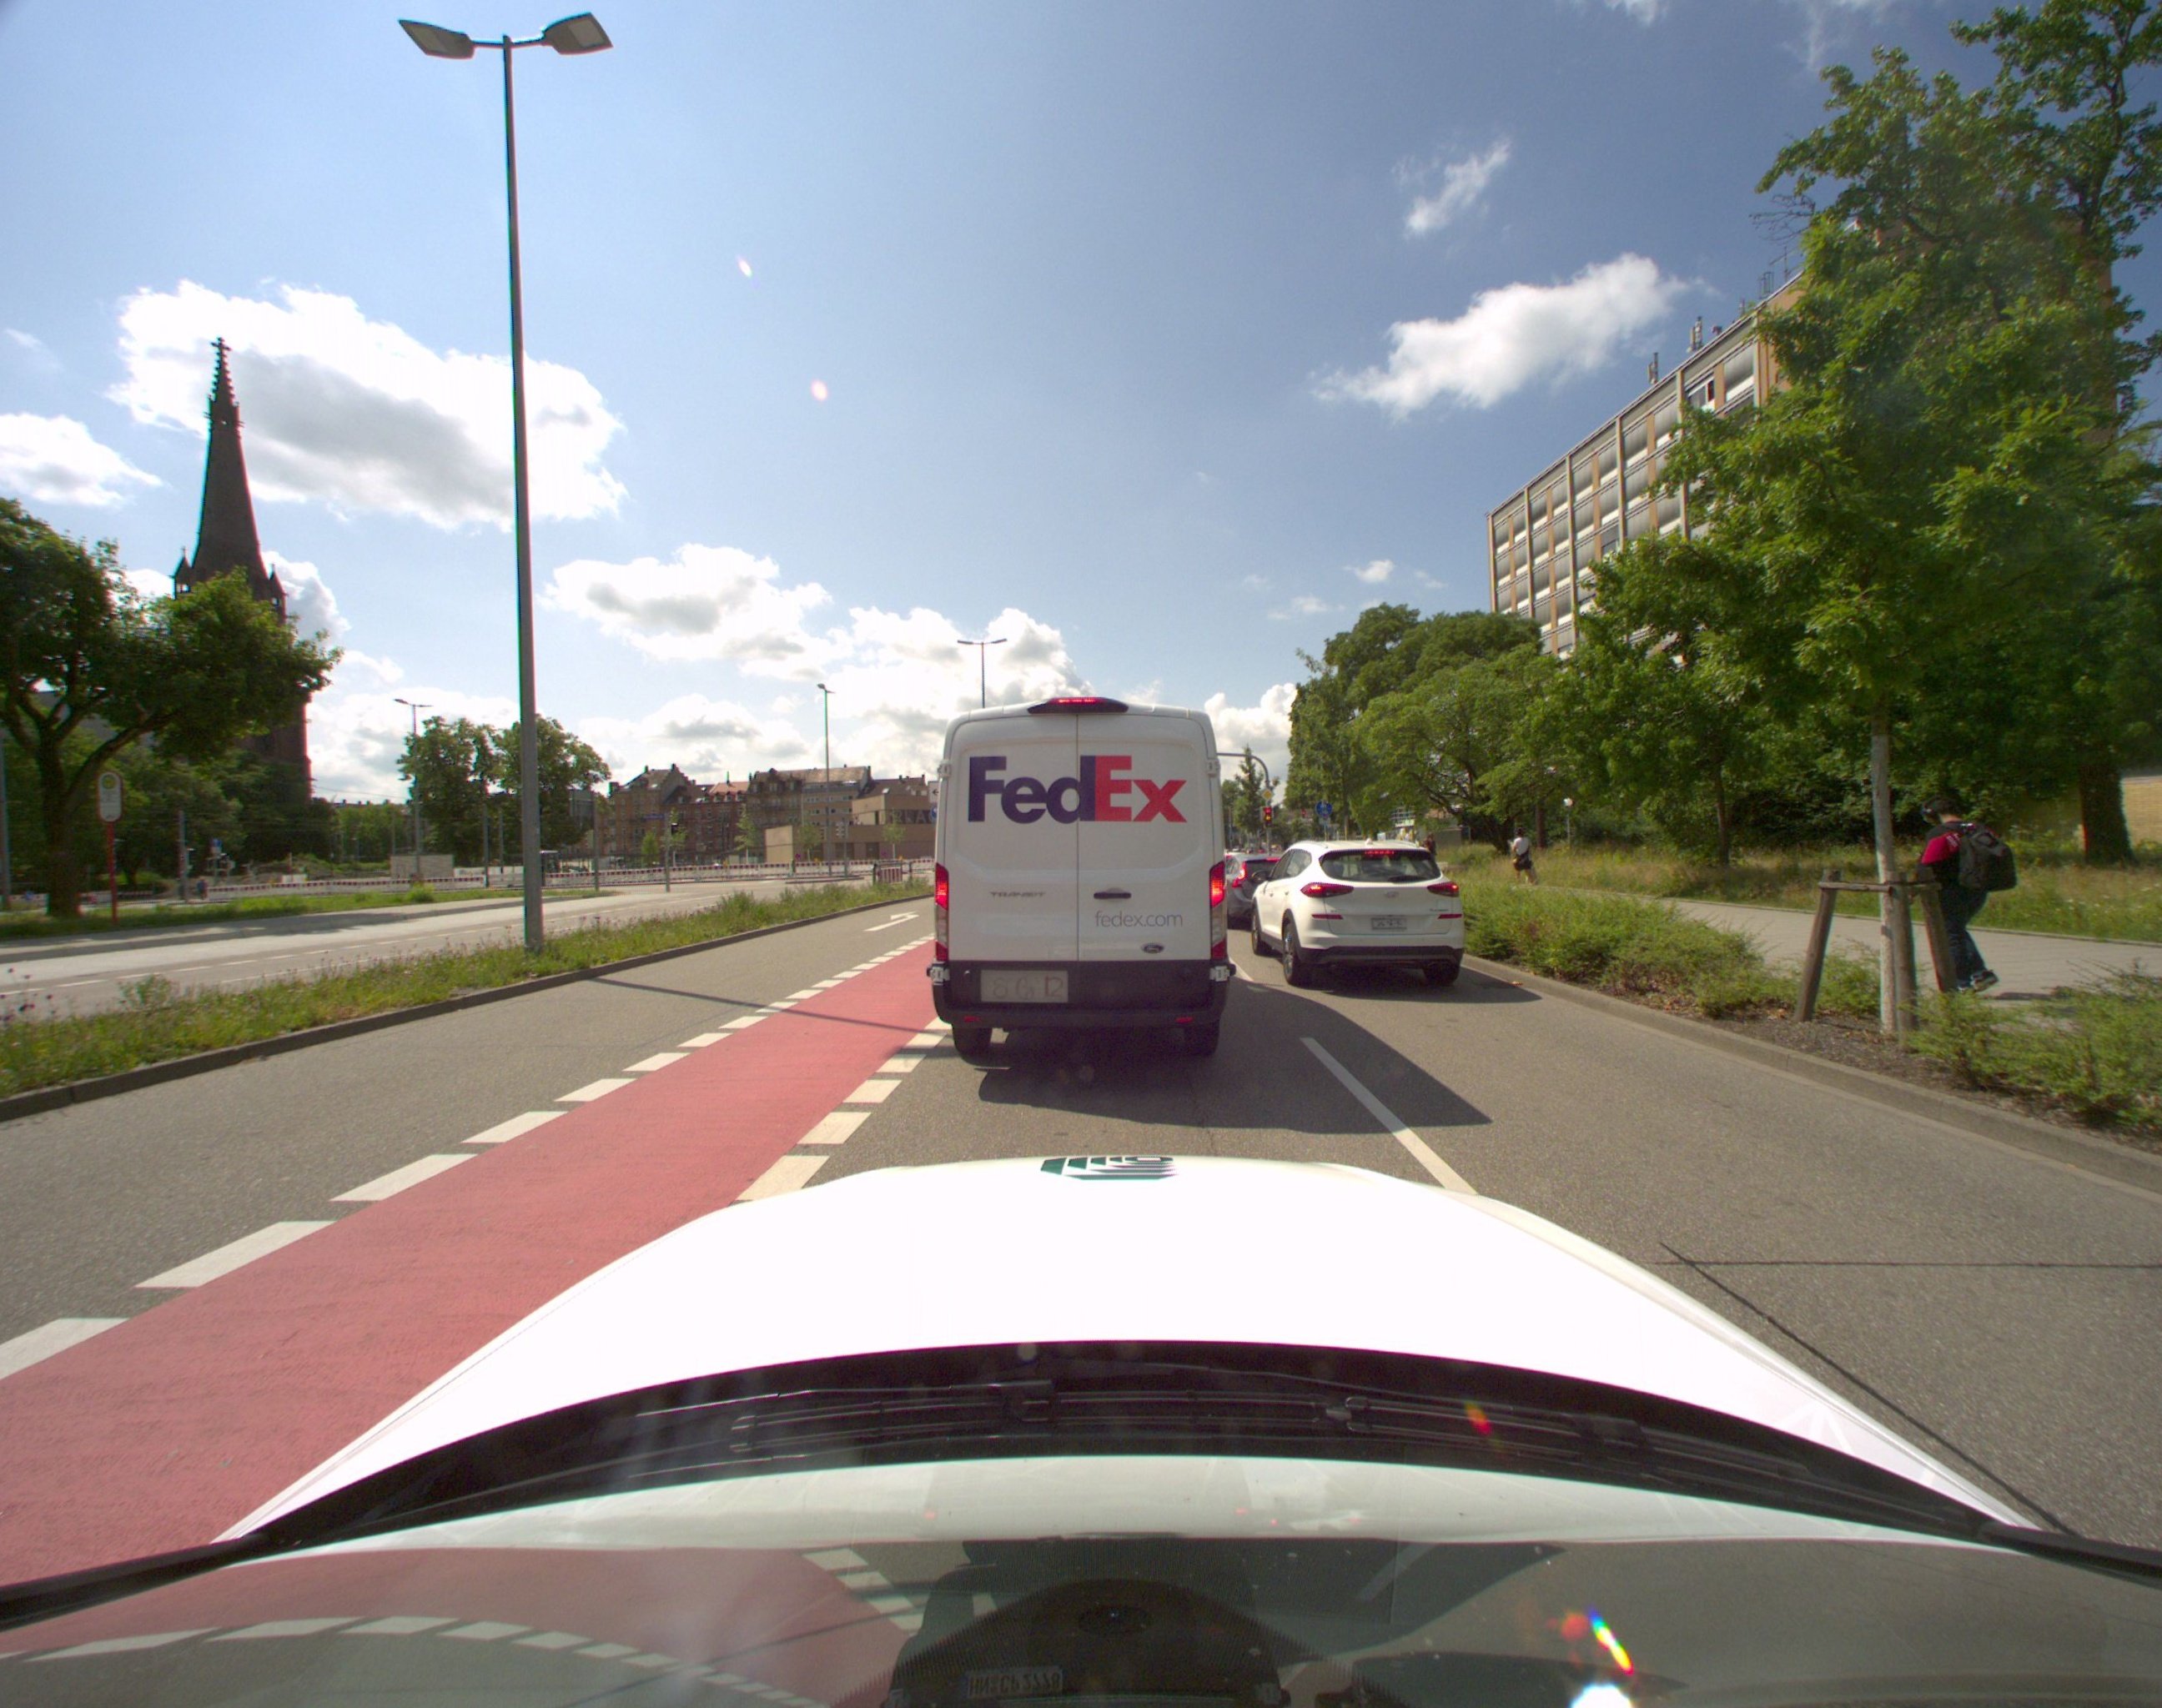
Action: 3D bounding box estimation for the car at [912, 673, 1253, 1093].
[{"bbox_3d":[0.135,0.175,7.328,2.064,2.581,4.432,-2,0,3],"label":"car"}]

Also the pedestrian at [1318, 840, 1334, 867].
[{"bbox_3d":[16.796,-0.025,55.792,0.758,1.849,0.814,-2,0,-8],"label":"pedestrian"}]

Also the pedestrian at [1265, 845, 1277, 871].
[{"bbox_3d":[13.721,0.316,58.882,0.753,1.849,0.820,-2,0,16],"label":"pedestrian"}]

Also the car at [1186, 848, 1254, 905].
[{"bbox_3d":[3.913,0.584,23.357,1.493,1.464,3.477,-2,0,3],"label":"car"}]

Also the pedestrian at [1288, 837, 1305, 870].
[{"bbox_3d":[12.356,-0.048,46.714,0.755,1.849,0.817,-2,0,3],"label":"pedestrian"}]

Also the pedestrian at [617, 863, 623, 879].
[{"bbox_3d":[-47.302,1.736,83.584,0.420,1.652,0.420,-1,-1,36],"label":"pedestrian"}]

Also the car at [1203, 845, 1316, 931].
[{"bbox_3d":[3.569,0.614,16.863,1.684,1.549,3.724,-2,0,3],"label":"car"}]

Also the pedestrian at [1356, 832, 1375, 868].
[{"bbox_3d":[14.199,-0.194,40.686,0.754,1.789,0.818,-2,0,10],"label":"pedestrian"}]

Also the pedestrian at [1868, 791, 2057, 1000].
[{"bbox_3d":[7.555,0.338,7.031,0.753,1.684,0.819,-2,0,13],"label":"pedestrian"}]

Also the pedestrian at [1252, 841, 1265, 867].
[{"bbox_3d":[13.026,0.020,59.835,0.810,1.849,0.762,-2,0,5],"label":"pedestrian"}]

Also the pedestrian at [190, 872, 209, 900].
[{"bbox_3d":[-64.339,2.354,59.423,0.629,2.013,0.648,-2,0,-4],"label":"pedestrian"}]

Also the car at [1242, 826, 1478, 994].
[{"bbox_3d":[3.265,0.566,10.386,1.807,1.678,3.978,-2,0,3],"label":"car"}]

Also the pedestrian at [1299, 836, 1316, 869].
[{"bbox_3d":[13.117,-0.080,47.199,0.755,1.849,0.817,-2,0,5],"label":"pedestrian"}]

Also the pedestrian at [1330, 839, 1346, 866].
[{"bbox_3d":[17.701,-0.089,56.050,0.758,1.849,0.814,-2,0,-6],"label":"pedestrian"}]

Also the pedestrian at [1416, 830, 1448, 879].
[{"bbox_3d":[12.267,0.005,28.463,0.755,1.655,0.817,-2,0,5],"label":"pedestrian"}]

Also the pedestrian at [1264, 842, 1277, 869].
[{"bbox_3d":[13.158,0.104,56.538,0.752,1.849,0.820,-2,0,20],"label":"pedestrian"}]

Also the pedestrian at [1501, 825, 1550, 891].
[{"bbox_3d":[10.821,0.093,19.852,0.755,1.557,0.817,-2,0,4],"label":"pedestrian"}]
